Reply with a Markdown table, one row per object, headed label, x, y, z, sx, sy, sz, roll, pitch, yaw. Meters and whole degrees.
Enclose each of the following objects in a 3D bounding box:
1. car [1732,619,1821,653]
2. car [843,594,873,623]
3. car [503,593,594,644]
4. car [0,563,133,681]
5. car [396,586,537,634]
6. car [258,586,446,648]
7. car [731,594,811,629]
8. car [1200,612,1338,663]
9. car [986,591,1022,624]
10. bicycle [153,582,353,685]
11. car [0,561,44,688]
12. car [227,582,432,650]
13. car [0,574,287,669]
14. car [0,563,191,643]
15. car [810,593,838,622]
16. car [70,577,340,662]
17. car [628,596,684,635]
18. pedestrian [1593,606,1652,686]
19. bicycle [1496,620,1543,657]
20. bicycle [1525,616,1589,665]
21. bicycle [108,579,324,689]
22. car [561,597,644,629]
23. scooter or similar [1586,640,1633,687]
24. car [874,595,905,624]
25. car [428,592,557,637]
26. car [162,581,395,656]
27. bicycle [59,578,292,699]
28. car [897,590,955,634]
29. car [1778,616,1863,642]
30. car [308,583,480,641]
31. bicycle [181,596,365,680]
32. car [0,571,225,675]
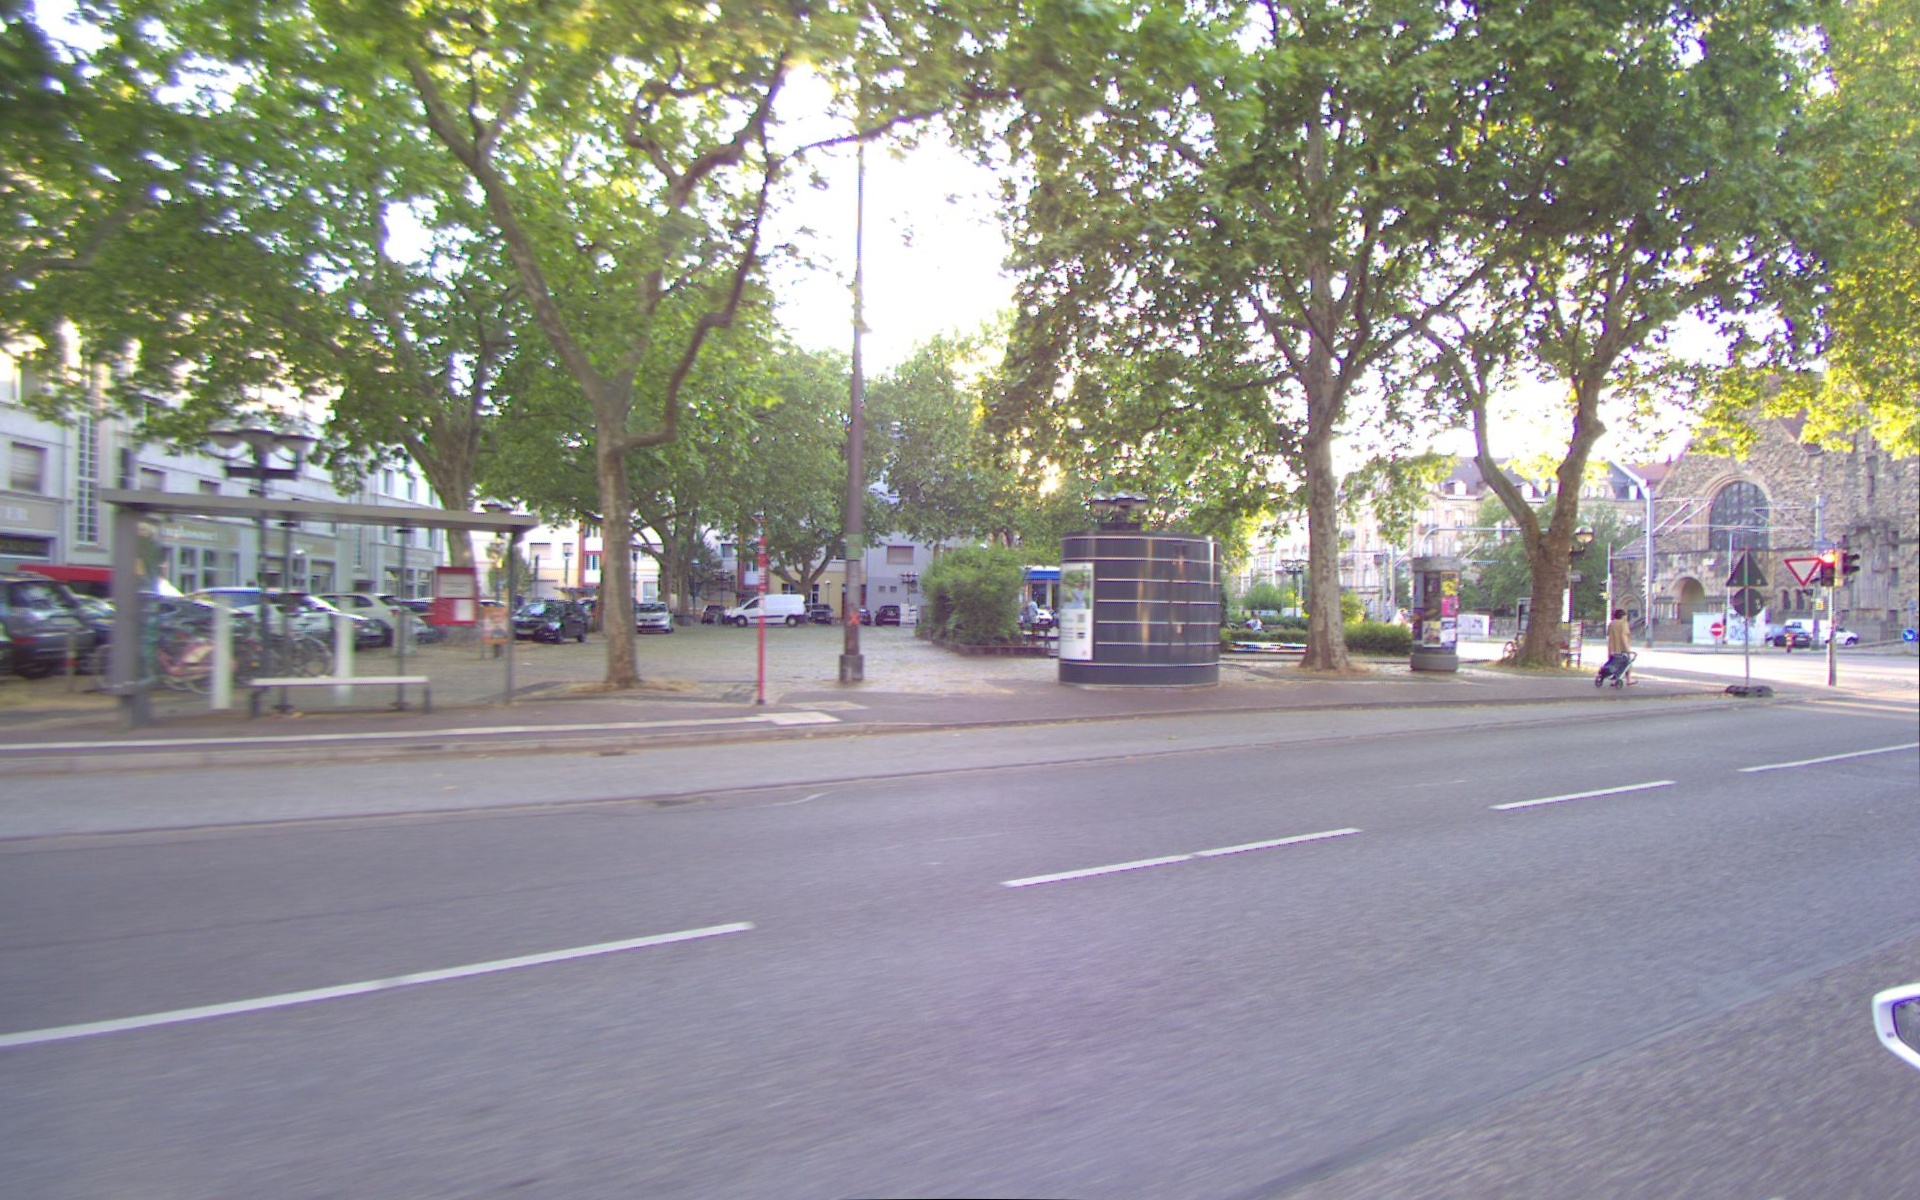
| label | x | y | z | sx | sy | sz | roll | pitch | yaw |
| --- | --- | --- | --- | --- | --- | --- | --- | --- | --- |
| car | 46.082 | 2.001 | 56.796 | 1.960 | 1.706 | 4.002 | 2 | 0 | 4 |
| car | -7.622 | 0.627 | 74.824 | 1.963 | 2.040 | 3.994 | 2 | 0 | -8 |
| car | -13.591 | 0.629 | 33.400 | 1.642 | 1.549 | 3.760 | 2 | -1 | -4 |
| car | -16.516 | 0.389 | 16.145 | 4.557 | 1.805 | 1.997 | -1 | -1 | -10 |
| car | -19.468 | 0.392 | 39.818 | 4.557 | 1.805 | 2.090 | -1 | -1 | -10 |
| car | -18.776 | 0.517 | 31.239 | 4.557 | 1.805 | 1.997 | -1 | -1 | -10 |
| car | -11.193 | 0.681 | 59.738 | 4.557 | 1.964 | 1.997 | -1 | -1 | -10 |
| car | 11.607 | 1.397 | 37.950 | 4.552 | 1.805 | 1.999 | -1 | -1 | -5 |
| car | 3.306 | 0.537 | 75.835 | 1.963 | 2.375 | 3.995 | 2 | 0 | -7 |
| bicycle | -11.998 | 0.557 | 17.114 | 2.693 | 1.636 | 0.809 | 2 | 0 | -5 |
| car | -15.829 | 0.370 | 13.694 | 4.557 | 1.805 | 1.997 | -1 | -1 | -10 |
| car | -18.057 | 0.460 | 28.995 | 4.557 | 1.805 | 1.997 | -1 | -1 | -10 |
| car | -16.993 | 0.440 | 20.854 | 4.557 | 1.805 | 1.997 | -1 | -1 | -10 |
| car | -29.852 | 0.139 | 34.836 | 4.555 | 2.474 | 1.998 | 3 | -2 | -7 |
| car | -10.071 | 0.547 | 74.418 | 1.963 | 2.040 | 3.994 | 2 | 0 | -8 |
| car | -17.307 | 0.448 | 23.256 | 4.557 | 1.805 | 1.997 | -1 | -1 | -10 |
| car | -14.144 | 0.705 | 46.882 | 1.642 | 1.684 | 3.760 | 2 | 0 | -4 |
| pedestrian | 14.166 | 0.964 | 21.477 | 0.766 | 1.649 | 0.796 | 2 | 0 | -35 |
| bicycle | 17.568 | 1.205 | 31.524 | 1.779 | 1.107 | 0.455 | 2 | 0 | -33 |
| bicycle | 16.950 | 1.148 | 28.497 | 1.967 | 1.344 | 0.523 | 2 | 0 | -26 |
| bicycle | -11.824 | 0.535 | 16.039 | 2.693 | 1.636 | 0.809 | 2 | 0 | -5 |
| car | -21.481 | 0.767 | 60.497 | 4.578 | 1.834 | 1.992 | 0 | -1 | -20 |
| scooter or similar | 13.525 | 1.312 | 20.909 | 0.845 | 0.910 | 0.586 | 2 | 0 | -40 |
| car | -5.309 | 0.703 | 75.356 | 1.963 | 2.040 | 3.994 | 2 | 0 | -8 |
| car | -19.654 | 0.607 | 42.407 | 4.557 | 1.805 | 1.997 | -1 | -1 | -10 |
| car | -17.503 | 0.471 | 26.024 | 4.557 | 1.805 | 1.997 | -1 | -1 | -10 |
| bicycle | -11.348 | 0.549 | 14.598 | 2.693 | 1.636 | 0.691 | 2 | 0 | -5 |
| car | -1.558 | 0.554 | 44.131 | 1.964 | 1.805 | 4.494 | -1 | -1 | -9 |
| car | 56.633 | 1.930 | 66.129 | 4.372 | 1.537 | 1.718 | 2 | 0 | -6 |
| car | -18.823 | 0.403 | 33.594 | 4.557 | 1.805 | 1.997 | -1 | -1 | -10 |
| bicycle | -12.246 | 0.678 | 17.969 | 2.693 | 1.402 | 0.691 | 2 | 0 | -5 |
| car | -16.656 | 0.430 | 18.519 | 4.557 | 1.805 | 1.997 | -1 | -1 | -10 |
